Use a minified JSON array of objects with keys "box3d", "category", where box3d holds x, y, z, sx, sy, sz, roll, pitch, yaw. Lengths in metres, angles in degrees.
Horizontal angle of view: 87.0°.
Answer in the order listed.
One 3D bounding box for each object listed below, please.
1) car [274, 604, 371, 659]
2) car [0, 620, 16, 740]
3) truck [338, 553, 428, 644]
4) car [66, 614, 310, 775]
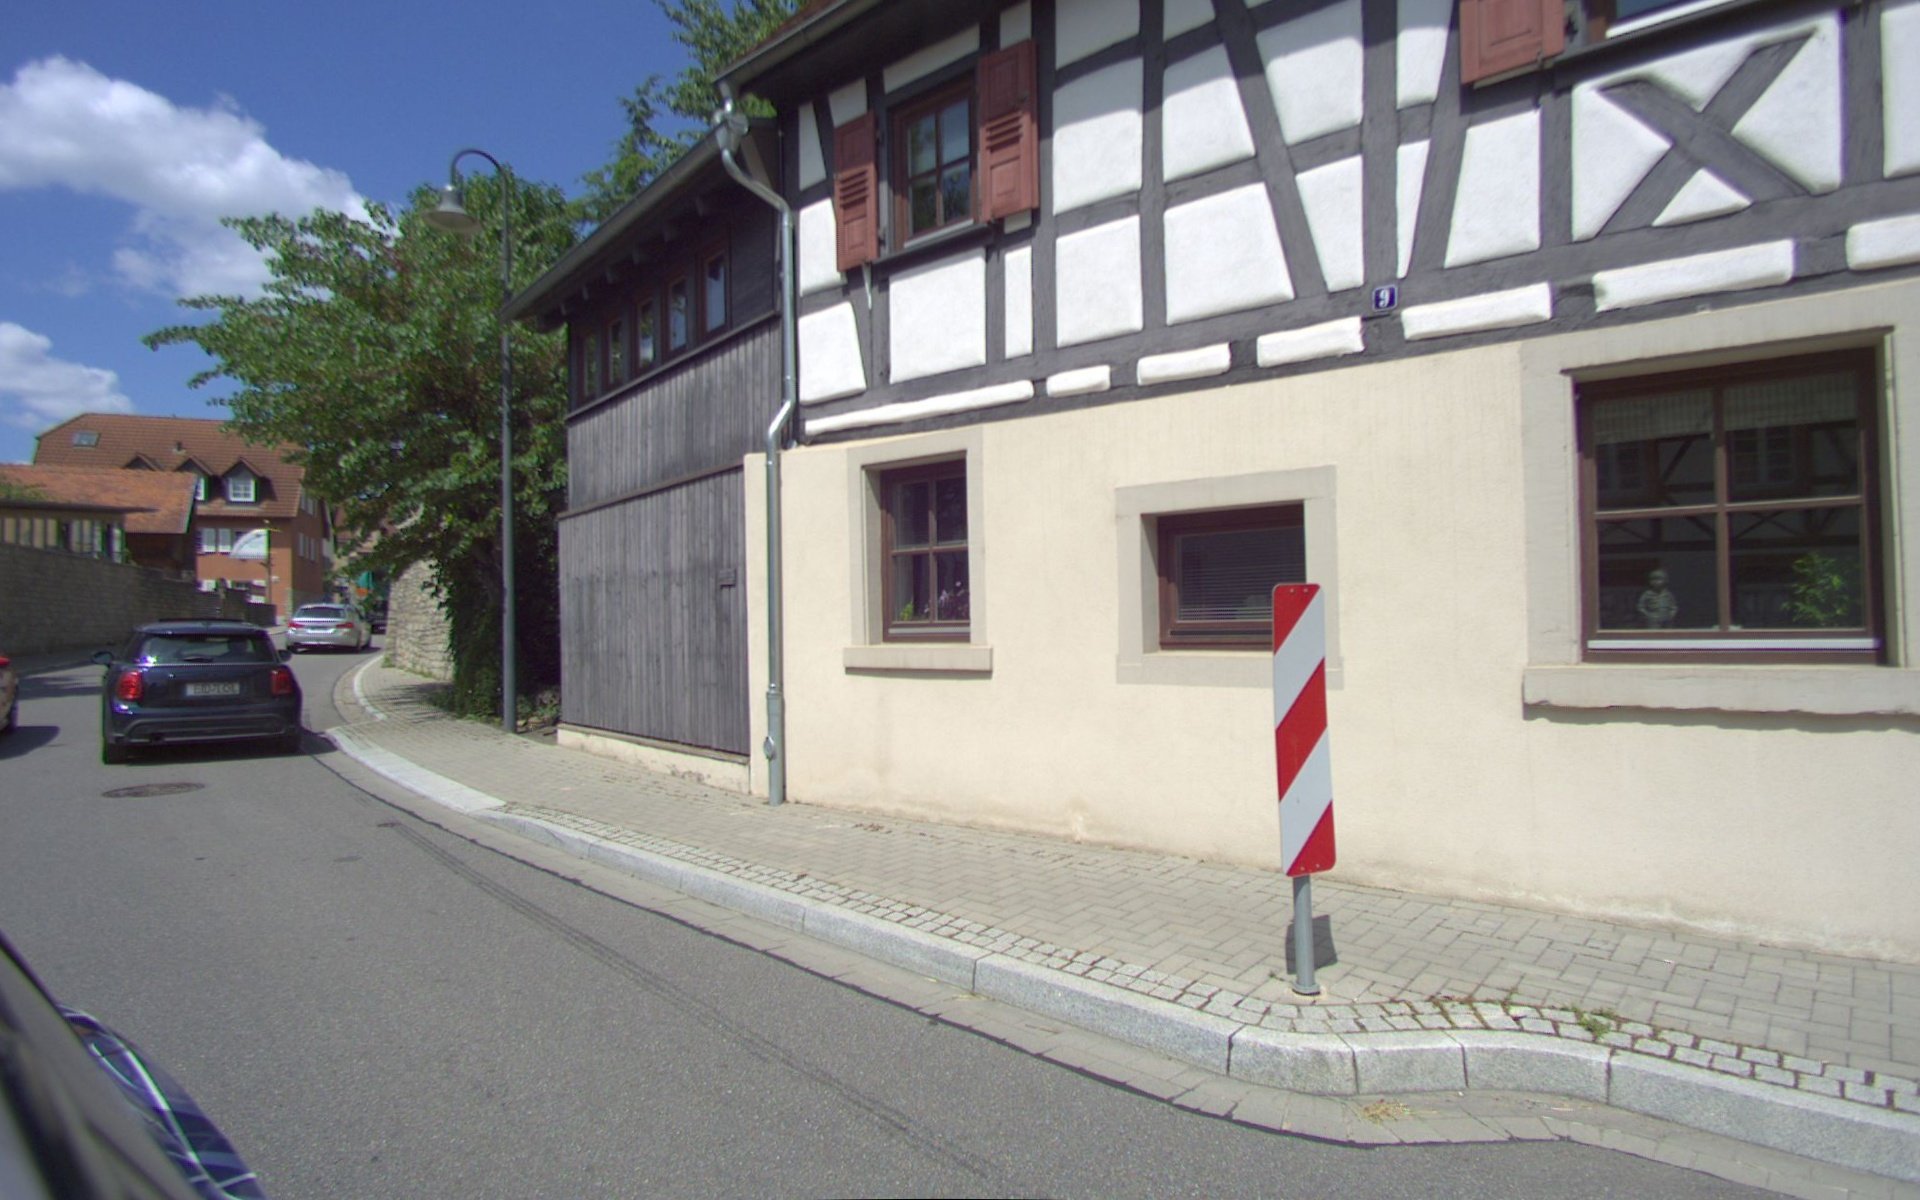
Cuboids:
[{"box3d":[-19.427,0.923,31.028,1.868,1.511,4.629,2,-1,-25],"category":"car"},{"box3d":[-11.186,0.917,10.485,1.643,1.362,3.502,2,-1,-37],"category":"car"},{"box3d":[-26.108,-0.160,46.170,2.378,3.685,9.599,-2,1,-23],"category":"truck"},{"box3d":[-9.063,0.944,11.726,1.679,1.477,4.438,3,-2,-44],"category":"car"}]
